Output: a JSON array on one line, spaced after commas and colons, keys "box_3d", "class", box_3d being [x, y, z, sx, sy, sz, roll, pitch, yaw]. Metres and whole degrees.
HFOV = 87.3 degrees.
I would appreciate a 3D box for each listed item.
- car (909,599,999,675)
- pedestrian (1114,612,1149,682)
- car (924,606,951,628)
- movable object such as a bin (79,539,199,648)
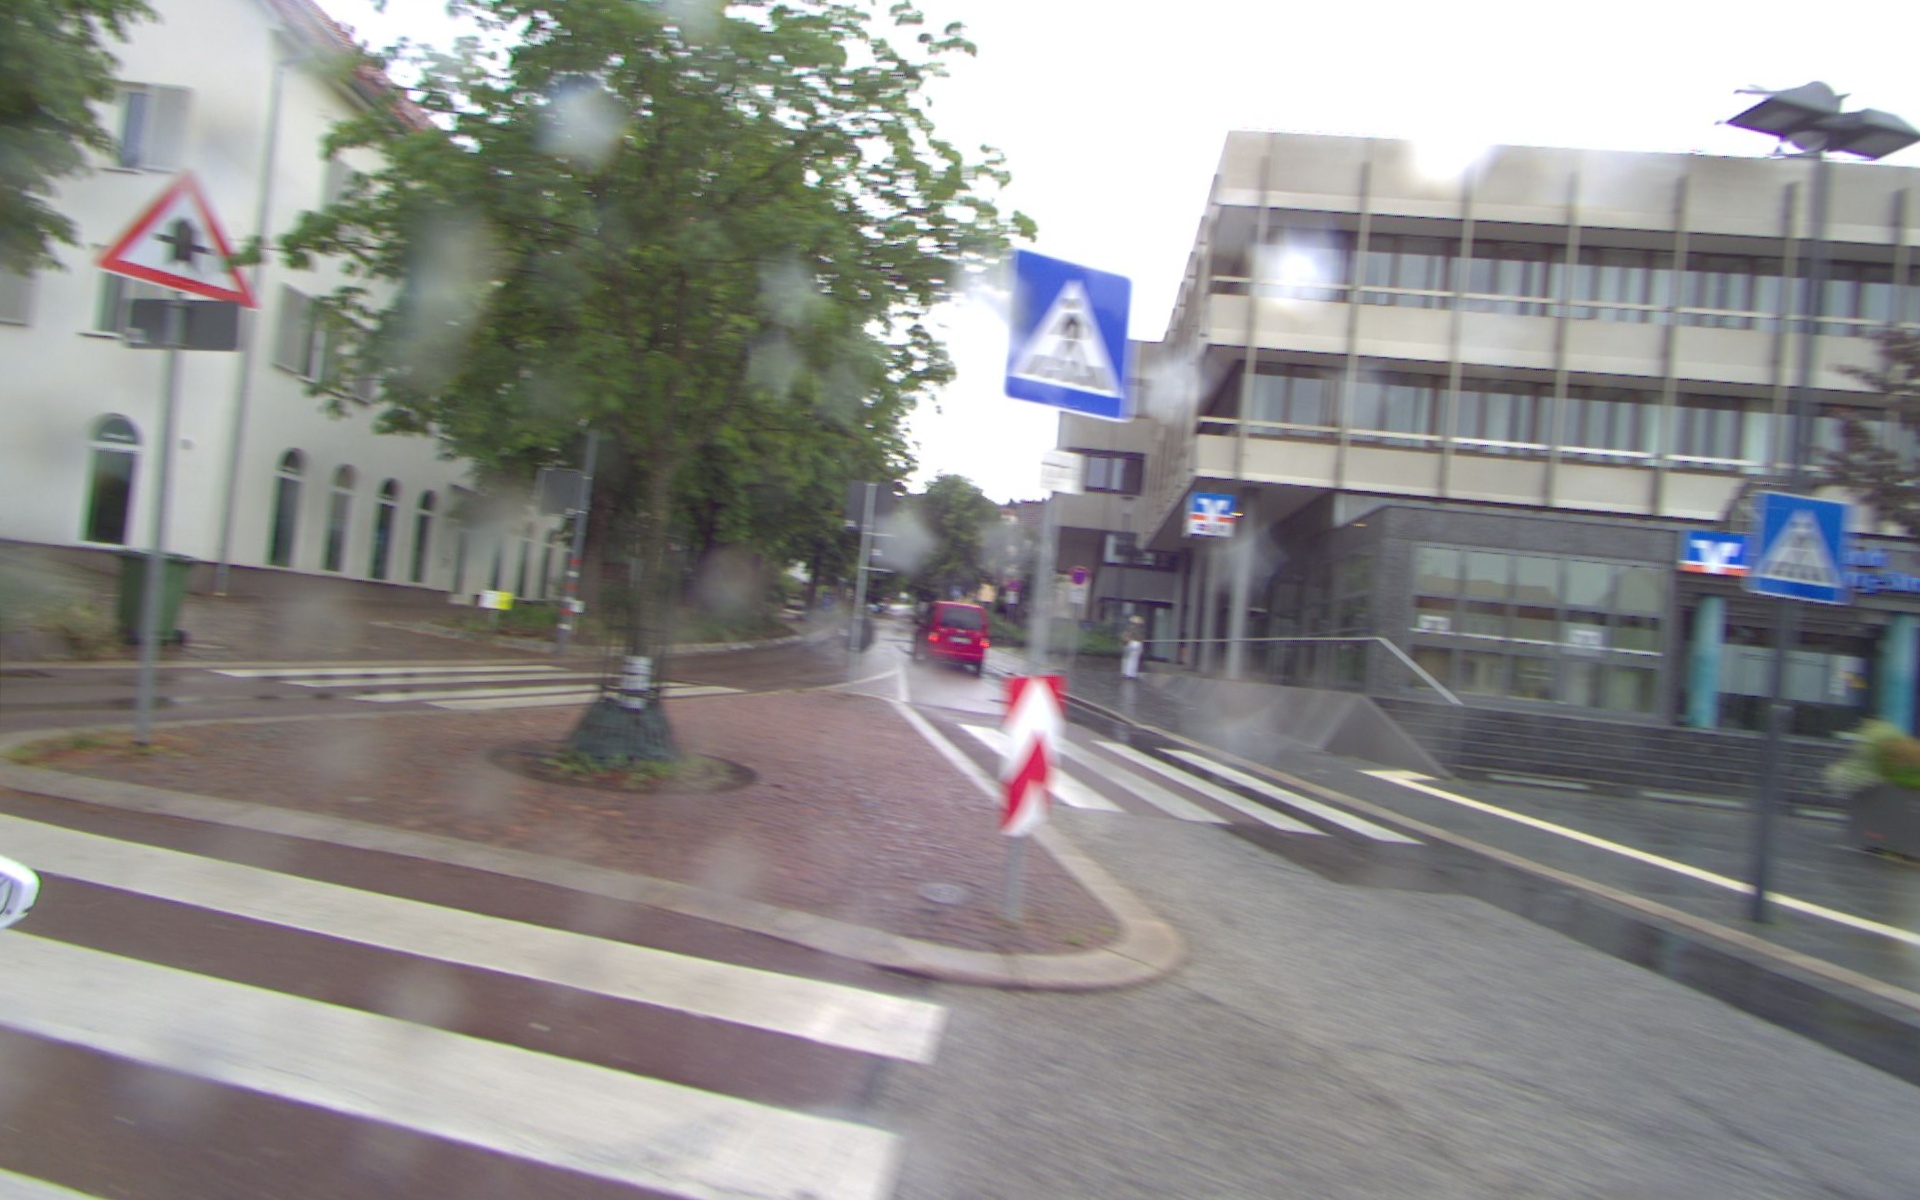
[{"box_3d": [-0.258, 1.028, 29.246, 1.836, 1.852, 4.180, 6, -1, -9], "class": "car"}, {"box_3d": [4.766, 1.286, 27.892, 0.821, 1.853, 0.815, 4, 0, 12], "class": "pedestrian"}, {"box_3d": [-2.045, 1.555, 91.972, 1.962, 1.790, 4.003, 5, -1, 3], "class": "car"}, {"box_3d": [-9.301, -0.056, 11.422, 0.725, 1.138, 0.650, 5, -1, 5], "class": "movable object such as a bin"}]
